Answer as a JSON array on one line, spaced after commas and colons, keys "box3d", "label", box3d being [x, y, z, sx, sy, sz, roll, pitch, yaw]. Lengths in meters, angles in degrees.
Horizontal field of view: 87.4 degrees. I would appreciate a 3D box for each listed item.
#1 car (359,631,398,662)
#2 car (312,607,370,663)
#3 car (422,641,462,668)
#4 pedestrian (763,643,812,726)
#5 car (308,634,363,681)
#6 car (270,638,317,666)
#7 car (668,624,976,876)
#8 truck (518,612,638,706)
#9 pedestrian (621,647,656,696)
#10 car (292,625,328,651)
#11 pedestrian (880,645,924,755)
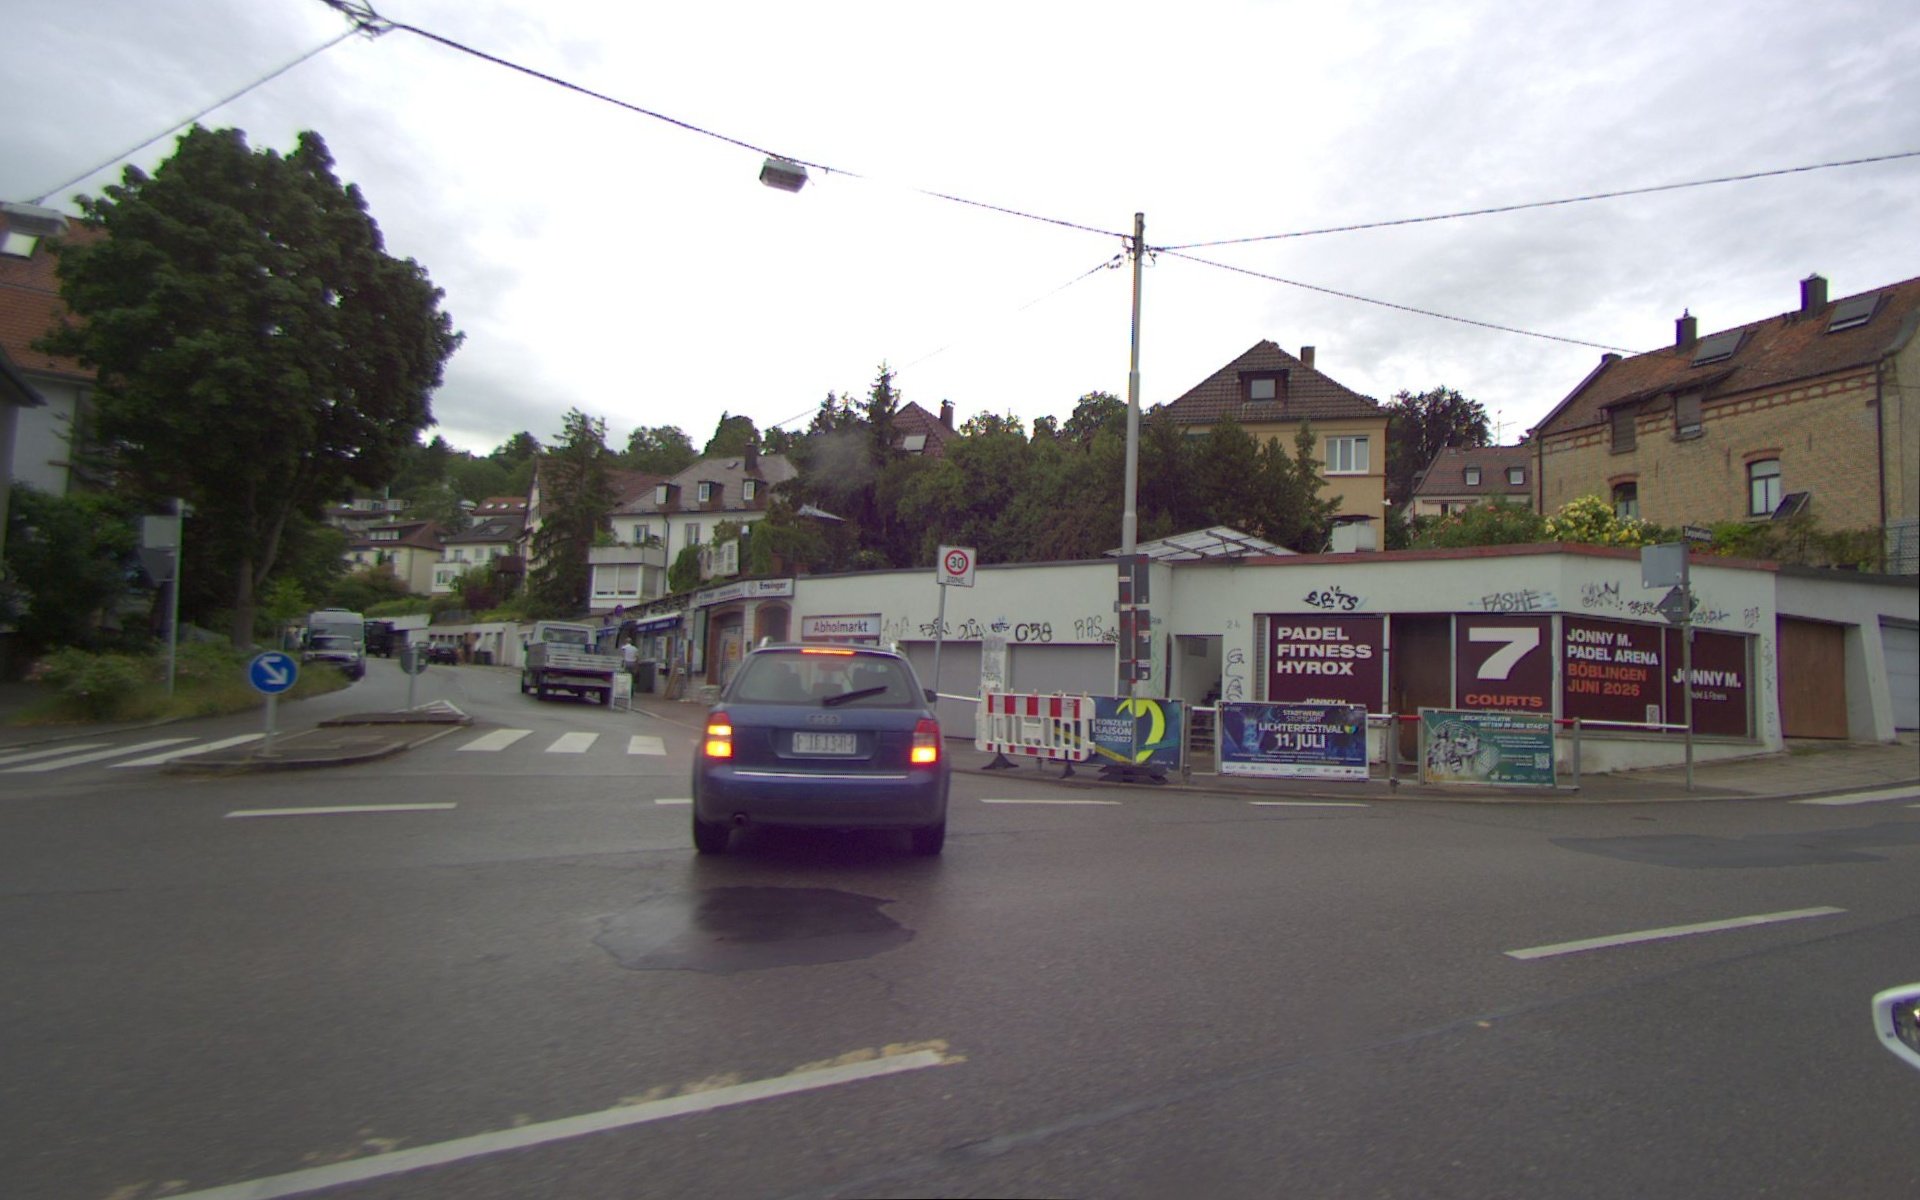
[{"box3d": [-47.754, 3.777, 82.489, 1.985, 2.463, 3.952, 2, -3, -41], "label": "car"}, {"box3d": [-25.197, 1.430, 40.792, 1.818, 2.151, 4.994, 2, -2, -33], "label": "car"}, {"box3d": [-33.639, 3.493, 65.161, 1.978, 1.661, 3.966, 2, -2, -32], "label": "car"}, {"box3d": [-3.938, 1.907, 22.930, 0.695, 1.829, 0.805, 0, -2, 38], "label": "pedestrian"}, {"box3d": [-22.274, 2.016, 35.796, 1.526, 1.548, 3.647, 2, -3, -33], "label": "car"}, {"box3d": [-33.949, 2.636, 51.247, 1.718, 1.382, 3.968, 2, -2, -30], "label": "car"}, {"box3d": [-0.943, 1.065, 7.966, 1.782, 1.457, 4.082, 1, -5, -4], "label": "car"}, {"box3d": [-11.571, 1.715, 30.049, 2.288, 2.297, 6.760, 8, -5, -28], "label": "truck"}, {"box3d": [-10.355, 2.291, 32.335, 0.879, 1.525, 0.971, 2, 0, -28], "label": "pedestrian"}, {"box3d": [-41.890, 2.425, 64.814, 1.718, 1.606, 3.968, 2, -2, -30], "label": "car"}, {"box3d": [-0.919, 1.597, 16.100, 0.572, 1.711, 0.627, -1, -4, 10], "label": "pedestrian"}]
